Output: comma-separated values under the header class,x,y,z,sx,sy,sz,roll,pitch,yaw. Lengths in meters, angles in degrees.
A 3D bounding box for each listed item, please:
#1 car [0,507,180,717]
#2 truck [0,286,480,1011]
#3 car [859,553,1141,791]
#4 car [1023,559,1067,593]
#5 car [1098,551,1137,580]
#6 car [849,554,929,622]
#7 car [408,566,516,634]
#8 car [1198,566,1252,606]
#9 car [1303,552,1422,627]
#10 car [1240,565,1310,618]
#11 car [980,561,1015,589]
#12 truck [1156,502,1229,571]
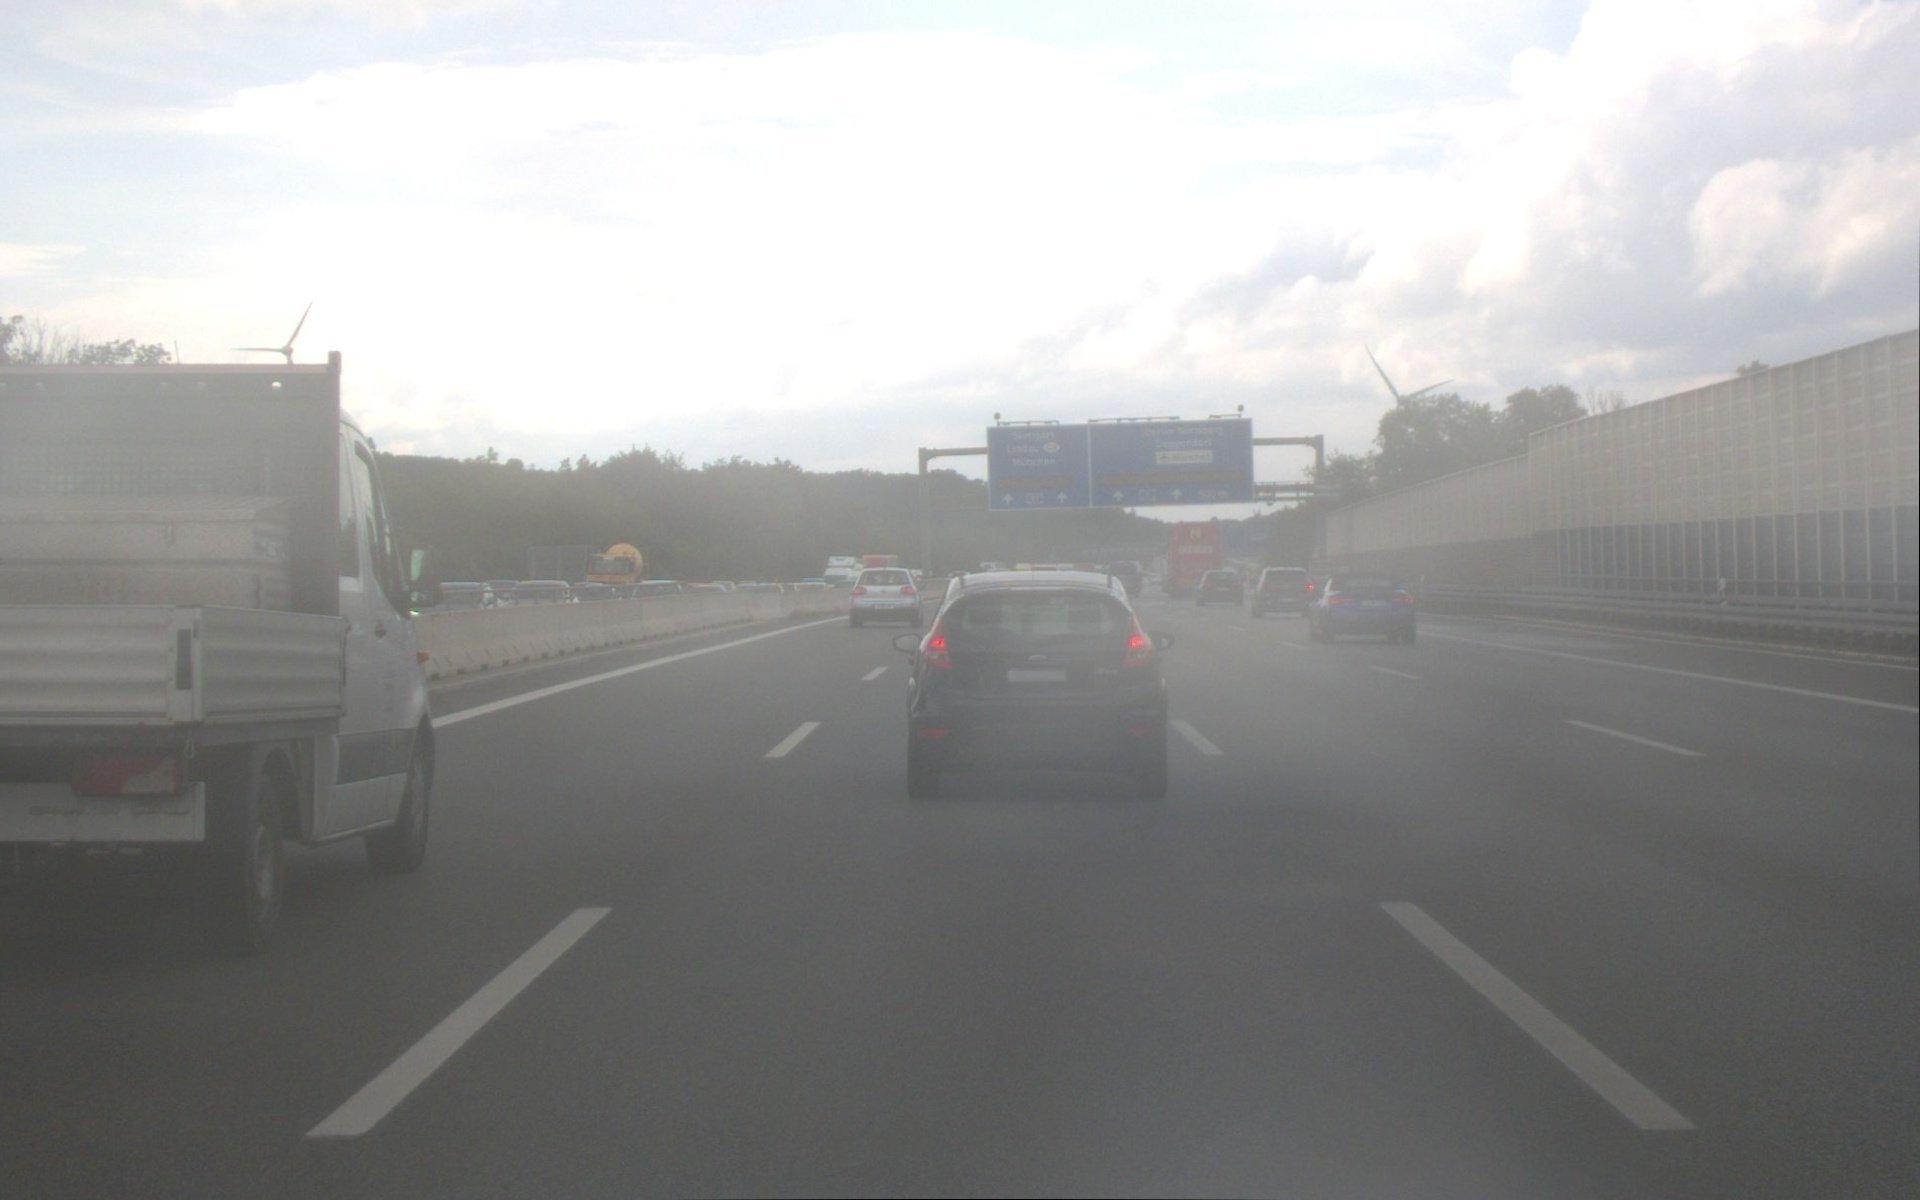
class,x,y,z,sx,sy,sz,roll,pitch,yaw
car,-13.658,0.046,50.129,2.231,2.740,9.164,-1,2,1
truck,-3.744,0.099,15.107,2.307,2.431,7.149,0,1,0
car,0.268,0.412,23.263,1.717,1.412,4.278,0,1,1
car,4.033,-1.137,163.728,1.968,1.555,4.433,-1,0,1
car,8.801,-1.922,192.004,1.968,1.555,4.433,-1,0,0
car,-1.764,-0.317,86.332,1.717,1.618,4.278,0,1,3
car,-12.317,-0.003,85.290,1.723,1.640,5.061,1,0,3
car,10.792,-0.565,140.400,1.882,1.555,4.433,-1,0,1
car,7.965,-0.217,68.331,1.950,1.413,4.232,-1,0,1
car,9.553,-0.254,104.641,1.883,1.537,4.432,-1,0,3
car,2.156,-1.458,199.557,1.968,1.555,4.433,-1,0,1
truck,12.450,-3.405,185.011,3.152,3.589,12.699,1,1,1
